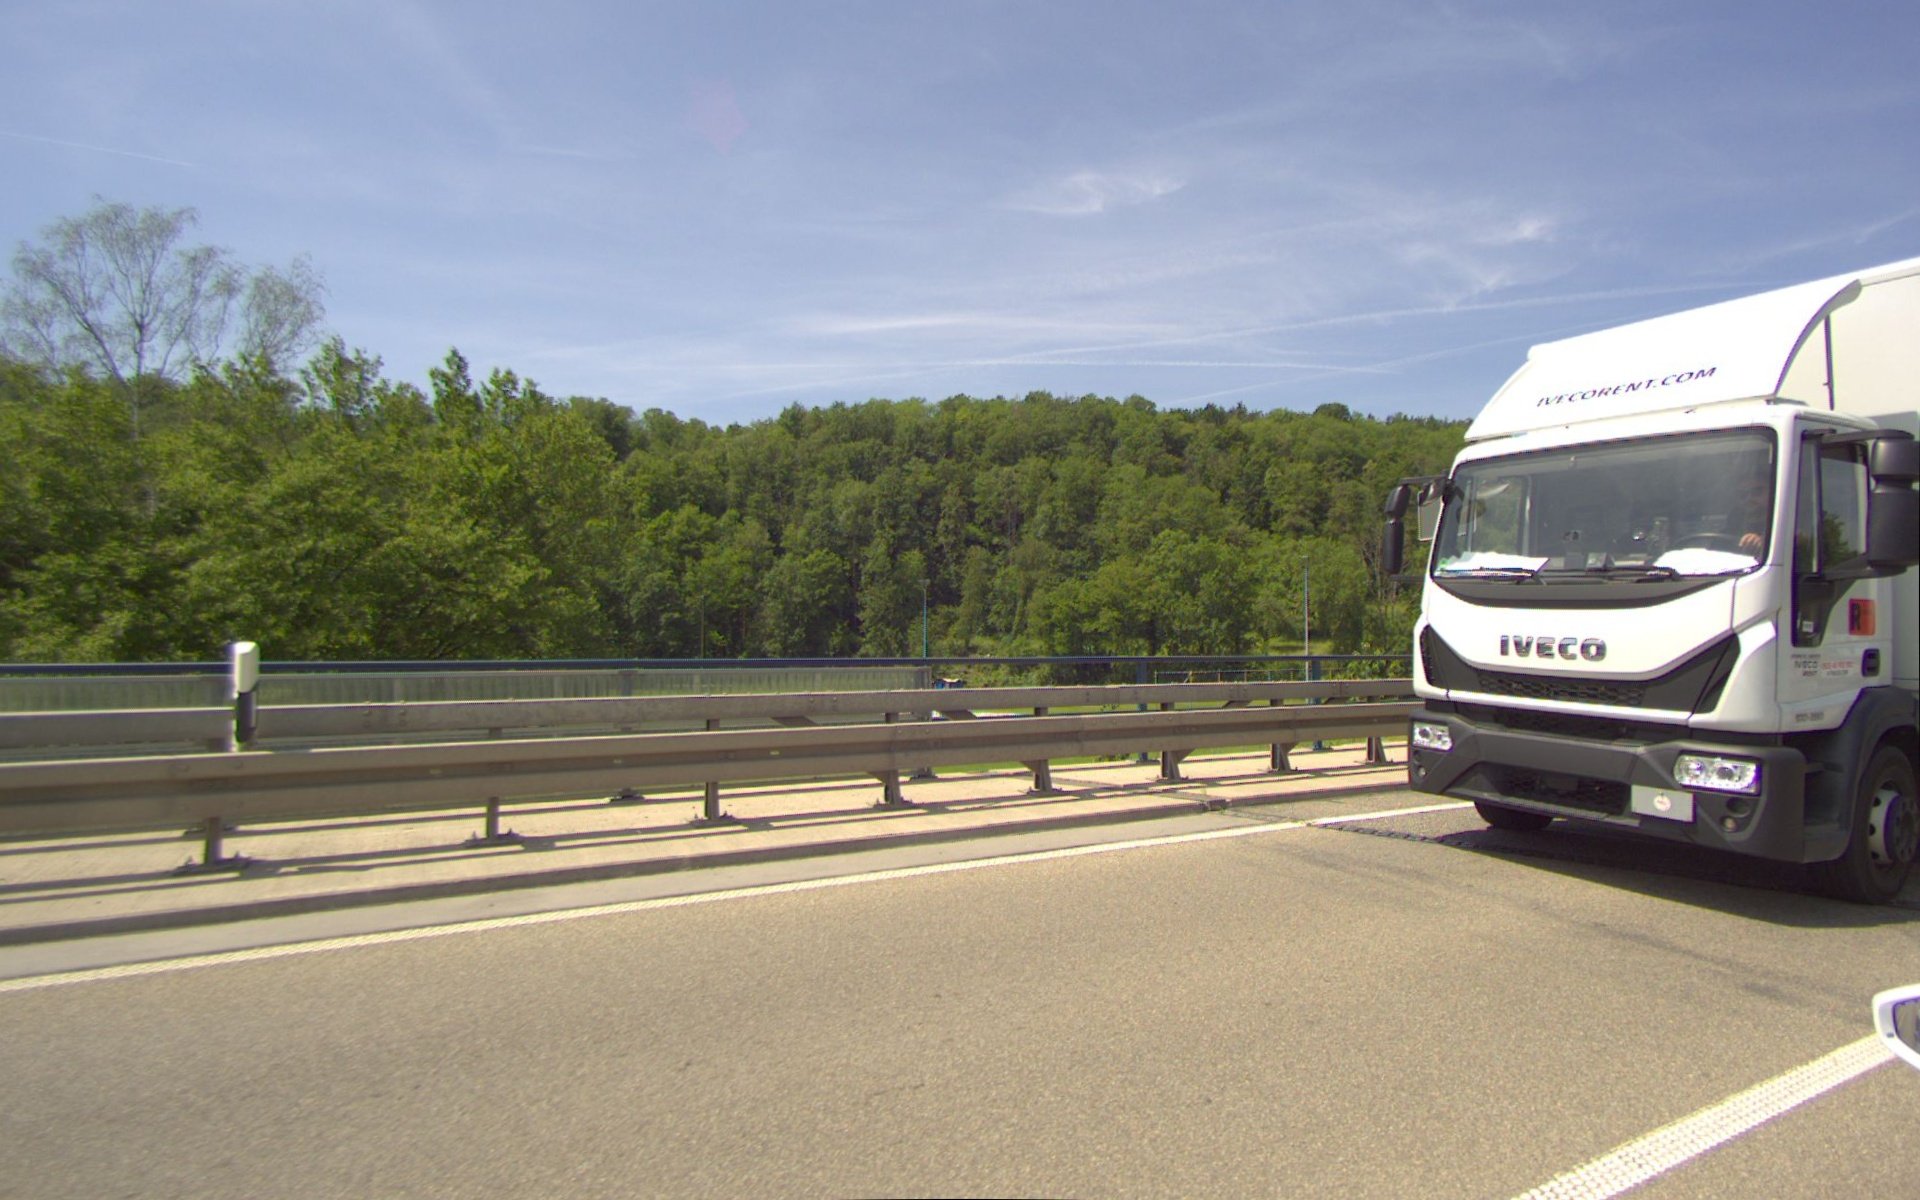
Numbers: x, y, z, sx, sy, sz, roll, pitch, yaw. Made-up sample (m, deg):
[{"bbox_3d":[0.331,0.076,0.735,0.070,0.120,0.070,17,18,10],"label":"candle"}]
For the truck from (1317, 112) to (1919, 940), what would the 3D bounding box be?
[{"bbox_3d":[7.477,-0.236,8.254,9.588,3.854,2.902,1,-1,-29],"label":"truck"}]
